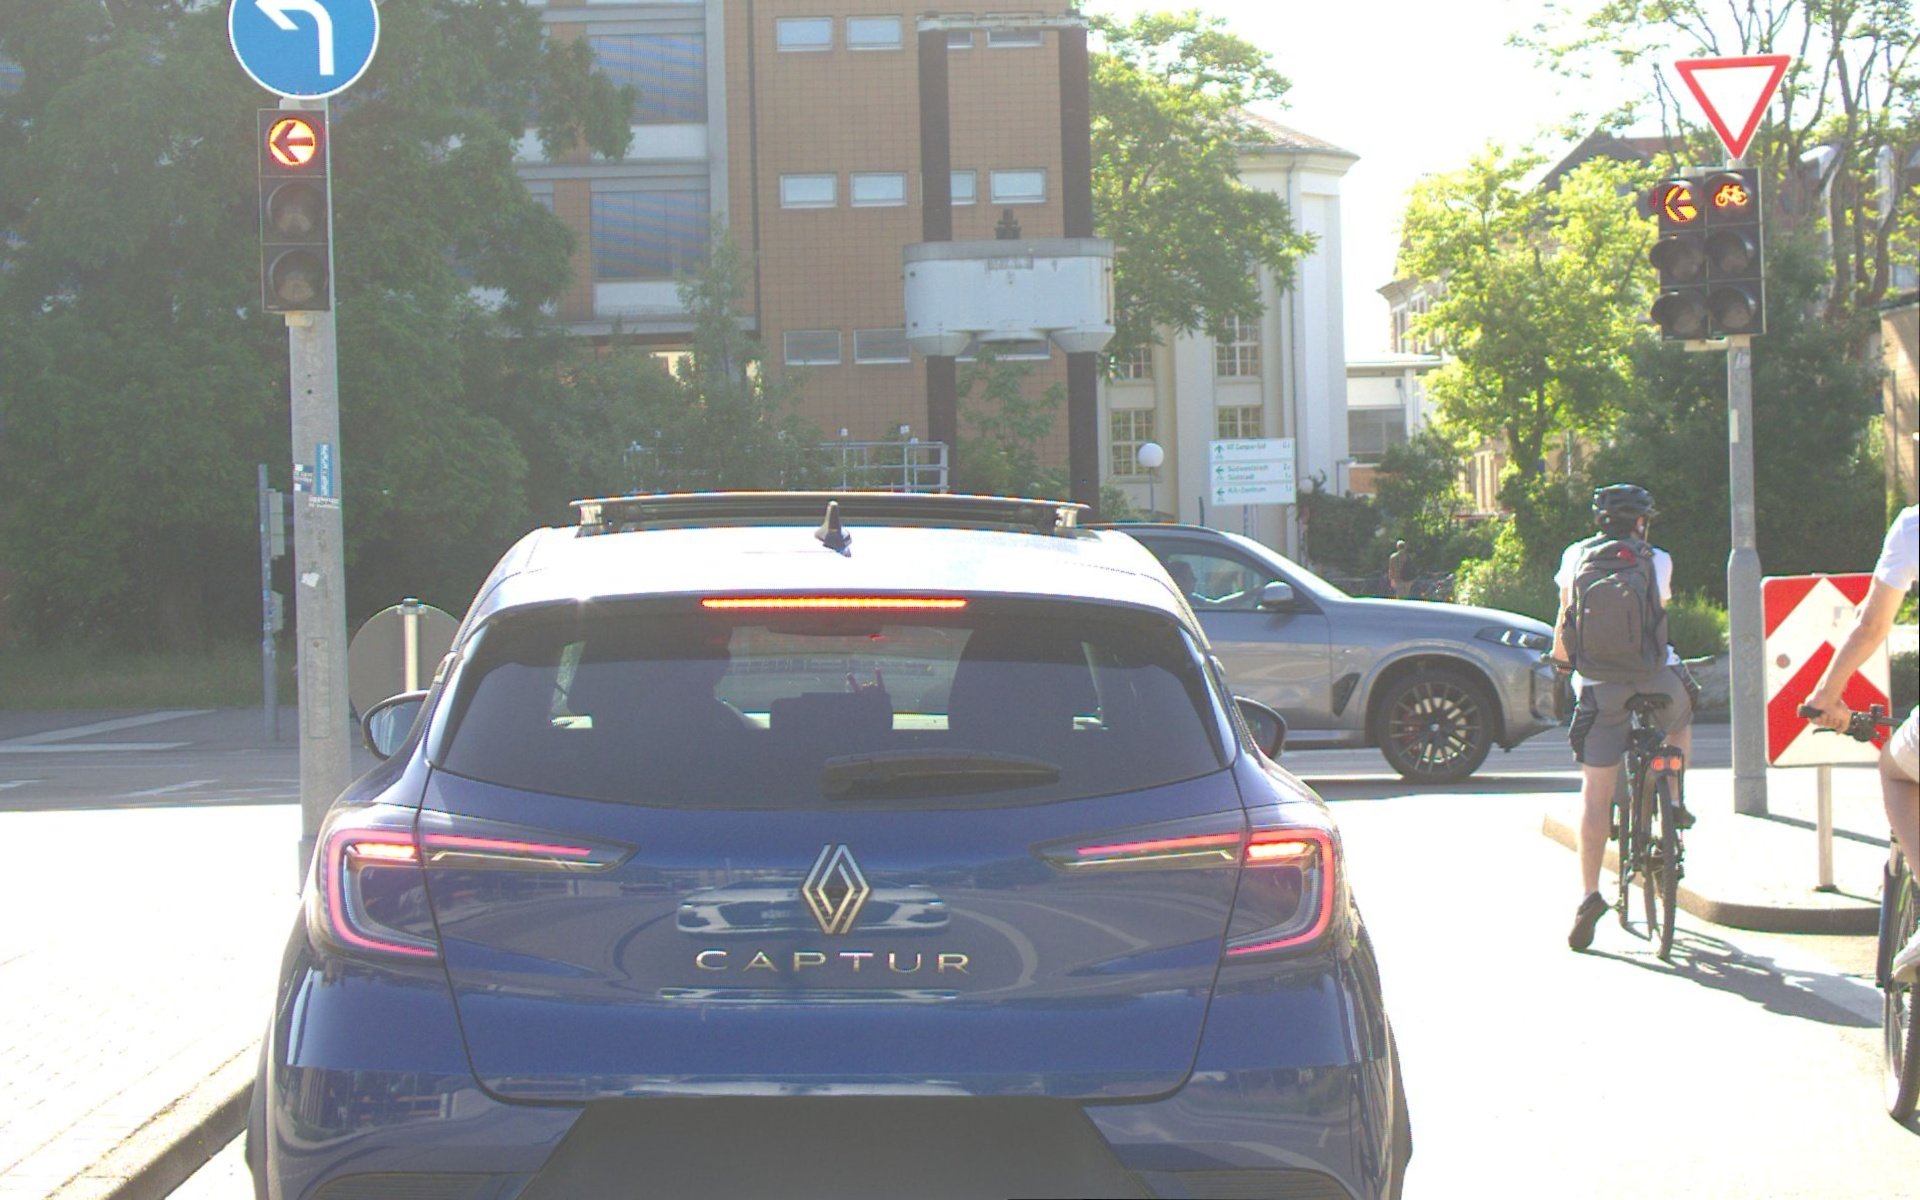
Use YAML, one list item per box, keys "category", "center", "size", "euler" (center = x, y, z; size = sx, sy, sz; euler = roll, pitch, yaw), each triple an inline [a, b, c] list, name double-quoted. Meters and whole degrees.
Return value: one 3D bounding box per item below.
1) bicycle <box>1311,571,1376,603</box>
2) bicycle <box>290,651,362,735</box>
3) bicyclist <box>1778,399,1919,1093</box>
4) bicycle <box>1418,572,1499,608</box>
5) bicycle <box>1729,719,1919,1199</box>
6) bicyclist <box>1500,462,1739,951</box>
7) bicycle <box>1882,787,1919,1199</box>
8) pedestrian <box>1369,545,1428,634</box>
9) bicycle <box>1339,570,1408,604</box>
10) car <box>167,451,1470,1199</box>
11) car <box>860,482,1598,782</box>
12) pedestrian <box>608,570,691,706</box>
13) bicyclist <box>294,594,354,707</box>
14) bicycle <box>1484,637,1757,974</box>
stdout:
- category: "bicycle"
  center: [11.067, -0.382, 99.213]
  size: [1.771, 0.890, 0.765]
  euler: [-1, 1, 0]
- category: "bicycle"
  center: [-8.067, 1.189, 43.688]
  size: [0.698, 1.004, 1.868]
  euler: [-2, -2, -16]
- category: "bicyclist"
  center: [2.479, 0.330, 8.361]
  size: [0.674, 1.577, 1.081]
  euler: [1, 1, -1]
- category: "bicycle"
  center: [12.036, -0.238, 83.047]
  size: [1.770, 0.820, 0.766]
  euler: [-1, 1, -10]
- category: "bicycle"
  center: [2.469, 0.863, 8.461]
  size: [0.671, 1.047, 1.844]
  euler: [1, 1, -2]
- category: "bicyclist"
  center: [2.482, 0.387, 13.020]
  size: [0.676, 1.779, 0.940]
  euler: [1, 0, -2]
- category: "bicycle"
  center: [2.320, 0.913, 6.161]
  size: [0.747, 1.047, 1.903]
  euler: [-1, 1, -2]
- category: "pedestrian"
  center: [9.999, -0.247, 78.474]
  size: [1.156, 2.007, 1.164]
  euler: [-1, 1, 0]
- category: "bicycle"
  center: [11.405, -0.352, 94.849]
  size: [1.771, 0.895, 0.765]
  euler: [-1, 1, 0]
- category: "car"
  center: [-0.247, 0.589, 6.688]
  size: [1.794, 1.649, 3.853]
  euler: [0, 1, -2]
- category: "car"
  center: [1.844, 0.205, 23.209]
  size: [4.728, 1.854, 2.004]
  euler: [-1, 1, 8]
- category: "pedestrian"
  center: [-4.289, 0.520, 47.554]
  size: [0.932, 1.849, 0.807]
  euler: [-1, 1, 9]
- category: "bicyclist"
  center: [-8.080, 0.641, 43.681]
  size: [0.647, 1.407, 0.639]
  euler: [-1, -2, -16]
- category: "bicycle"
  center: [2.454, 0.729, 12.959]
  size: [0.615, 1.134, 1.826]
  euler: [0, 1, -2]
